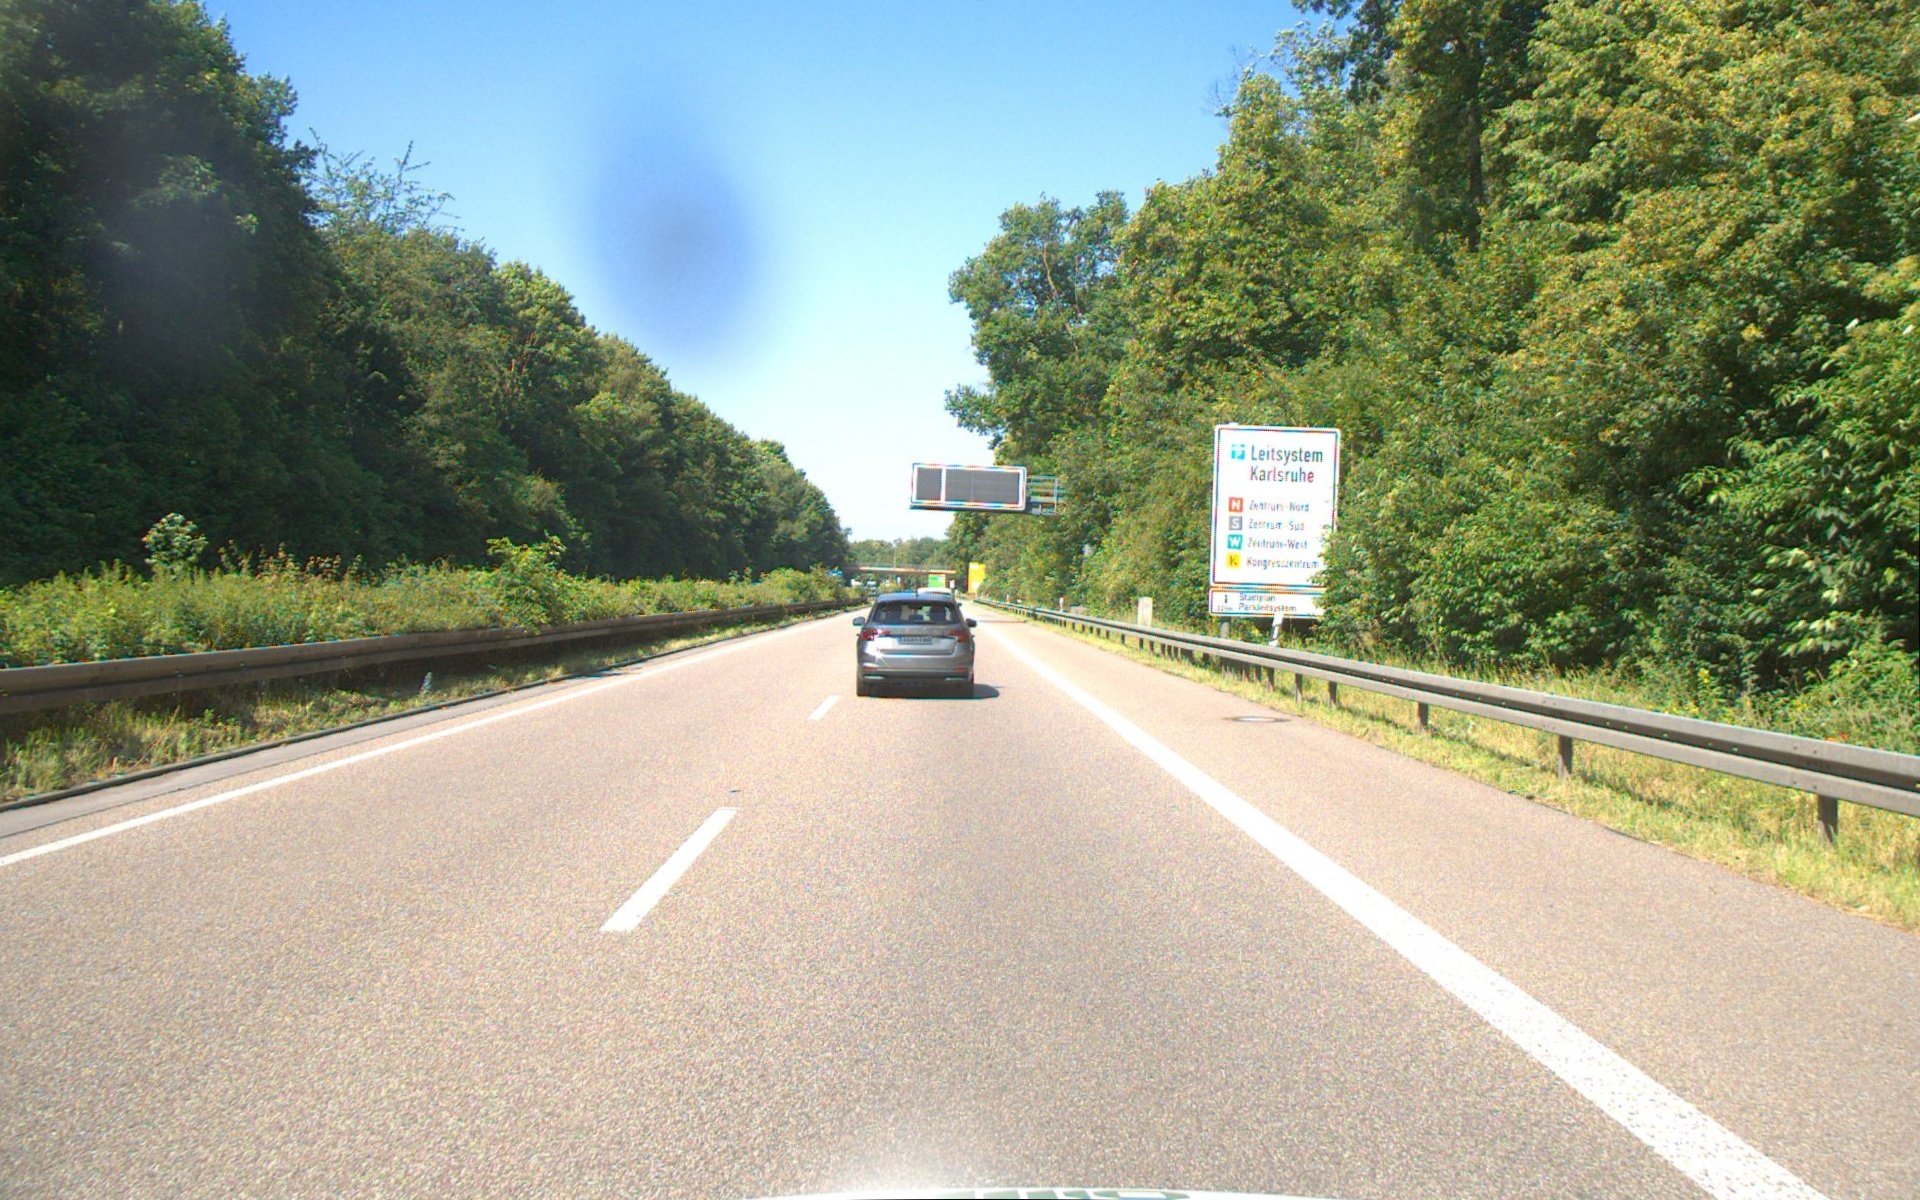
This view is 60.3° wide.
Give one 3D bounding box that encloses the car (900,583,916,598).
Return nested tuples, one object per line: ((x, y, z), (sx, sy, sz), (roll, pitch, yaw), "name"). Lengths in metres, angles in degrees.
((-6.942, -1.259, 220.708), (1.953, 2.049, 3.999), (1, 0, -1), "car")

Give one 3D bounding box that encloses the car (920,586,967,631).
((-0.524, 0.264, 56.192), (1.491, 1.472, 3.340), (1, 0, 1), "car")

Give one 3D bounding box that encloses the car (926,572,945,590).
((-3.651, -2.840, 247.237), (2.693, 2.700, 3.999), (1, 0, -1), "car")

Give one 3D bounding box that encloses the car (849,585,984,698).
((-0.559, 0.552, 24.274), (1.802, 1.497, 3.624), (1, 0, 1), "car")
